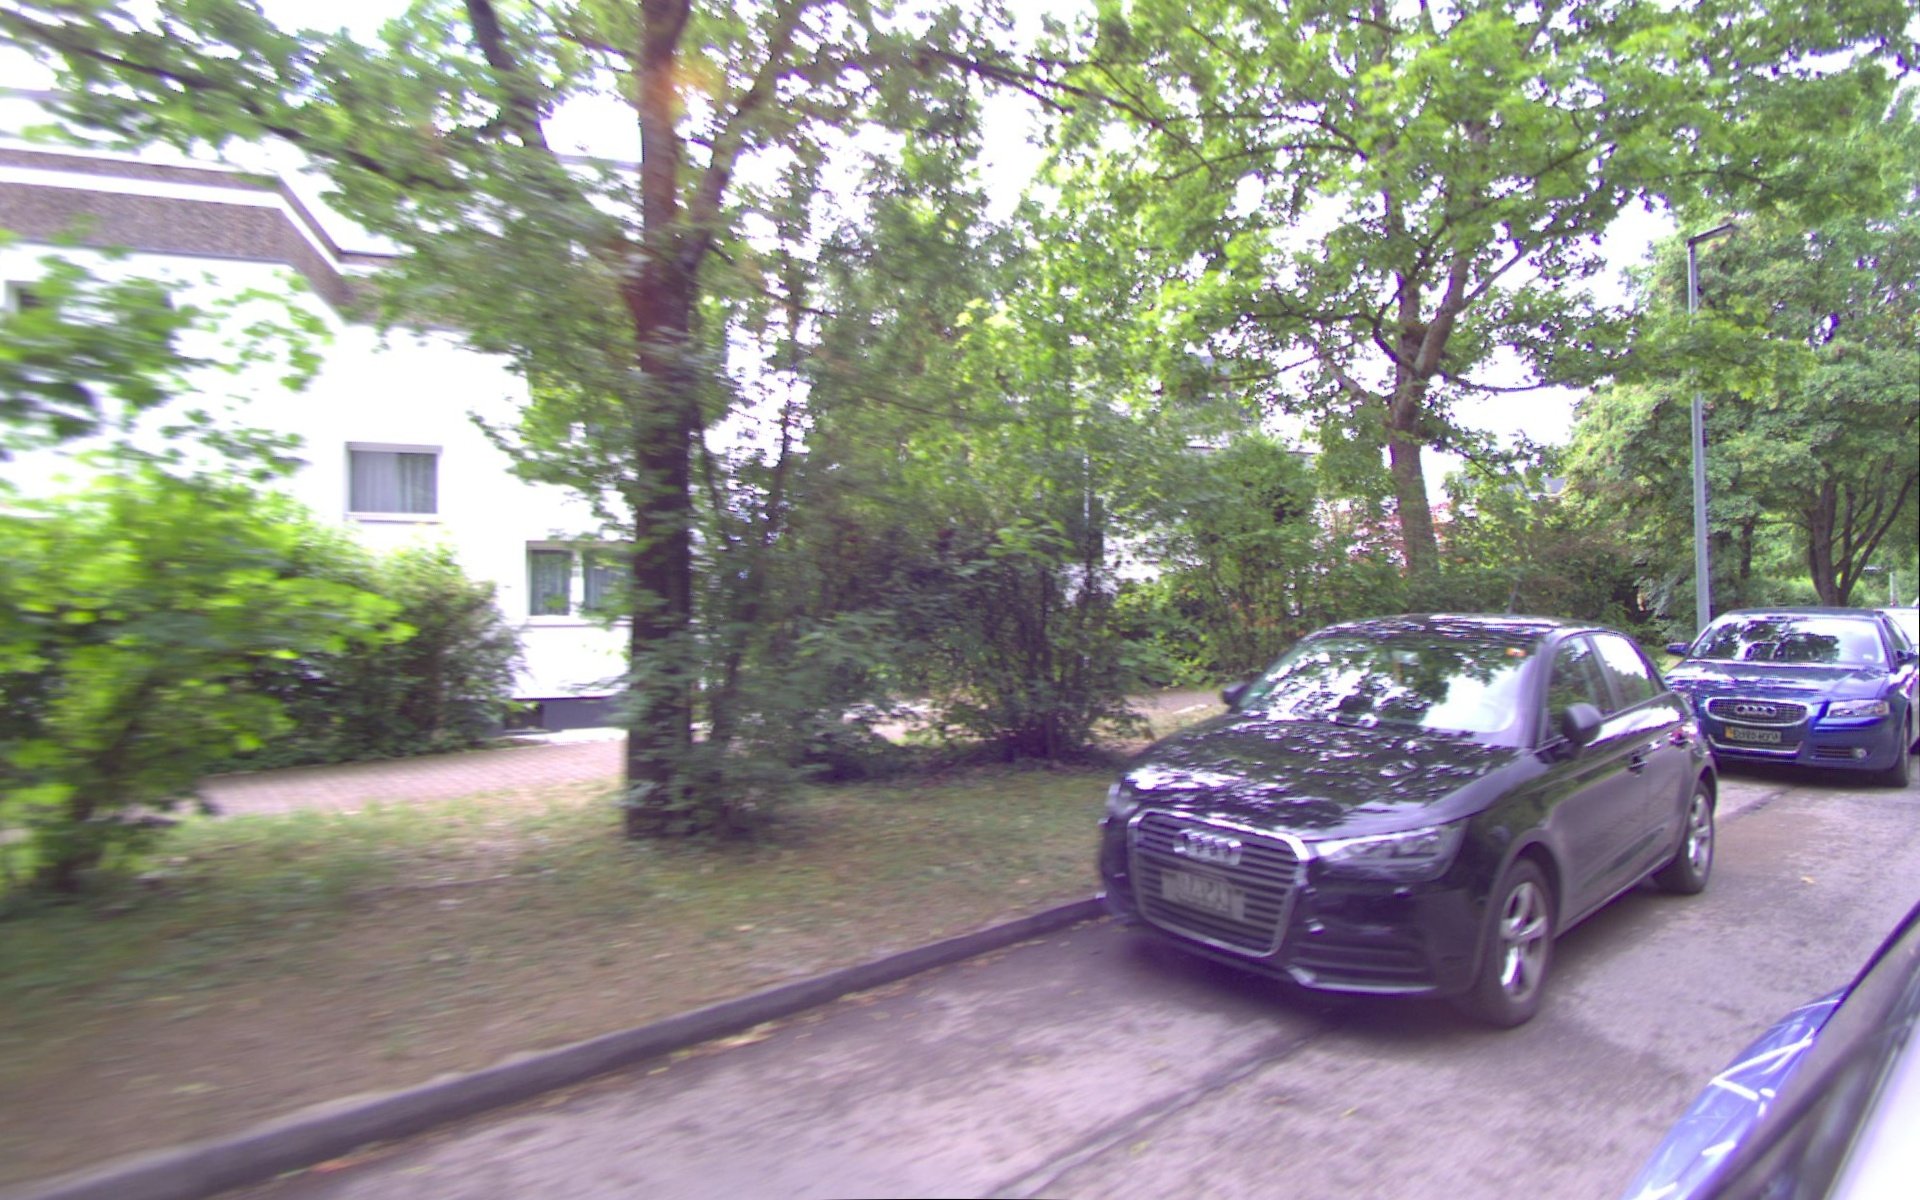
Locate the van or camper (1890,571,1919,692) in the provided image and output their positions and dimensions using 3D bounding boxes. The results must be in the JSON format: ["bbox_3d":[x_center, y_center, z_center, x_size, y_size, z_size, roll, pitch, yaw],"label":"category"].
[{"bbox_3d":[16.937,0.435,16.578,4.242,1.861,1.806,-2,0,-38],"label":"van or camper"}]

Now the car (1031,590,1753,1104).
[{"bbox_3d":[2.299,0.707,4.853,3.850,1.471,1.722,0,-1,-42],"label":"car"}]

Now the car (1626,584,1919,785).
[{"bbox_3d":[8.111,0.626,9.721,4.403,1.493,1.849,0,-1,-43],"label":"car"}]

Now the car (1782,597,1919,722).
[{"bbox_3d":[12.605,0.701,13.375,4.165,1.456,1.816,0,-2,-39],"label":"car"}]
